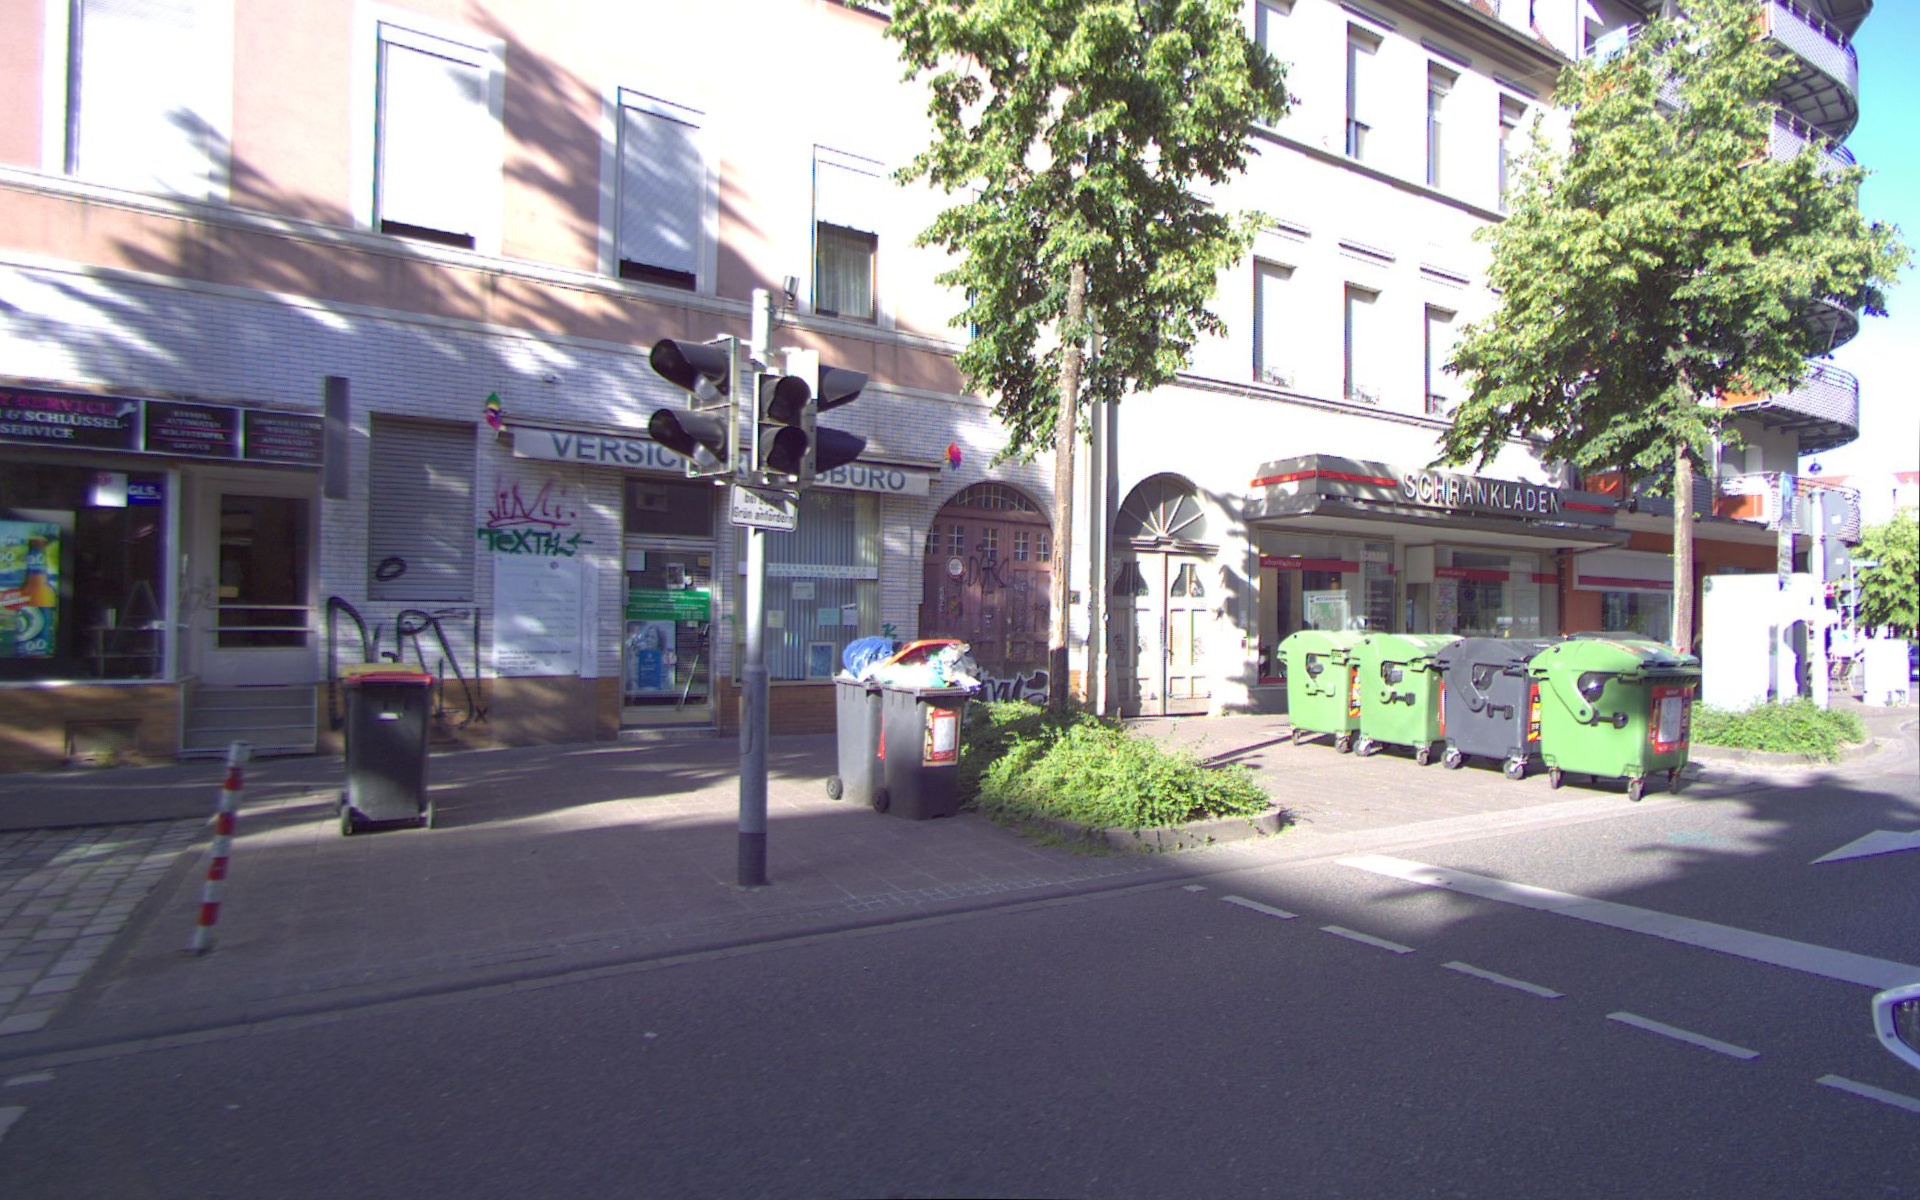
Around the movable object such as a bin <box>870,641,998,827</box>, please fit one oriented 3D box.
[{"bbox_3d":[-0.208,1.004,7.862,0.796,1.359,0.631,1,-2,-31],"label":"movable object such as a bin"}]

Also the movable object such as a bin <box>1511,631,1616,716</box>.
[{"bbox_3d":[10.160,1.206,16.919,1.299,1.363,1.037,1,-2,-31],"label":"movable object such as a bin"}]

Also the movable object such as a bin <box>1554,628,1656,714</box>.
[{"bbox_3d":[11.281,1.212,17.589,1.299,1.422,1.037,1,-2,-31],"label":"movable object such as a bin"}]

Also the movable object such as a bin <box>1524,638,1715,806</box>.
[{"bbox_3d":[6.415,1.116,9.777,1.436,1.491,1.037,1,-2,-31],"label":"movable object such as a bin"}]

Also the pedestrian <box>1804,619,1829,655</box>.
[{"bbox_3d":[51.891,2.223,60.851,0.949,2.136,0.734,1,-1,-8],"label":"pedestrian"}]

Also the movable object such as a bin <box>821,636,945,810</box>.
[{"bbox_3d":[-0.653,0.989,8.439,0.796,1.359,0.751,1,-2,-31],"label":"movable object such as a bin"}]

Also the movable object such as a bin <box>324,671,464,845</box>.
[{"bbox_3d":[-3.886,1.048,6.909,0.796,1.083,0.528,1,-2,-31],"label":"movable object such as a bin"}]

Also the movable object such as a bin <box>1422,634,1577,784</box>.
[{"bbox_3d":[5.777,1.113,10.787,1.130,1.491,1.037,1,-2,-31],"label":"movable object such as a bin"}]

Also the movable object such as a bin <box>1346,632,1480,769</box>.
[{"bbox_3d":[5.248,1.121,11.661,1.130,1.491,0.959,1,-2,-31],"label":"movable object such as a bin"}]

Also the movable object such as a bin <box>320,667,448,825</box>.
[{"bbox_3d":[-4.324,1.064,7.554,0.796,1.083,0.528,1,-2,-31],"label":"movable object such as a bin"}]

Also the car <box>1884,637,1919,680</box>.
[{"bbox_3d":[36.506,2.186,37.794,4.495,1.442,1.736,0,-1,-37],"label":"car"}]

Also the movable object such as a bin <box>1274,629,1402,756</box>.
[{"bbox_3d":[4.717,1.106,12.561,1.130,1.491,1.037,1,-2,-31],"label":"movable object such as a bin"}]

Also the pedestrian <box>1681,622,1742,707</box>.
[{"bbox_3d":[15.370,1.293,20.538,1.025,1.681,0.661,1,-1,-31],"label":"pedestrian"}]
